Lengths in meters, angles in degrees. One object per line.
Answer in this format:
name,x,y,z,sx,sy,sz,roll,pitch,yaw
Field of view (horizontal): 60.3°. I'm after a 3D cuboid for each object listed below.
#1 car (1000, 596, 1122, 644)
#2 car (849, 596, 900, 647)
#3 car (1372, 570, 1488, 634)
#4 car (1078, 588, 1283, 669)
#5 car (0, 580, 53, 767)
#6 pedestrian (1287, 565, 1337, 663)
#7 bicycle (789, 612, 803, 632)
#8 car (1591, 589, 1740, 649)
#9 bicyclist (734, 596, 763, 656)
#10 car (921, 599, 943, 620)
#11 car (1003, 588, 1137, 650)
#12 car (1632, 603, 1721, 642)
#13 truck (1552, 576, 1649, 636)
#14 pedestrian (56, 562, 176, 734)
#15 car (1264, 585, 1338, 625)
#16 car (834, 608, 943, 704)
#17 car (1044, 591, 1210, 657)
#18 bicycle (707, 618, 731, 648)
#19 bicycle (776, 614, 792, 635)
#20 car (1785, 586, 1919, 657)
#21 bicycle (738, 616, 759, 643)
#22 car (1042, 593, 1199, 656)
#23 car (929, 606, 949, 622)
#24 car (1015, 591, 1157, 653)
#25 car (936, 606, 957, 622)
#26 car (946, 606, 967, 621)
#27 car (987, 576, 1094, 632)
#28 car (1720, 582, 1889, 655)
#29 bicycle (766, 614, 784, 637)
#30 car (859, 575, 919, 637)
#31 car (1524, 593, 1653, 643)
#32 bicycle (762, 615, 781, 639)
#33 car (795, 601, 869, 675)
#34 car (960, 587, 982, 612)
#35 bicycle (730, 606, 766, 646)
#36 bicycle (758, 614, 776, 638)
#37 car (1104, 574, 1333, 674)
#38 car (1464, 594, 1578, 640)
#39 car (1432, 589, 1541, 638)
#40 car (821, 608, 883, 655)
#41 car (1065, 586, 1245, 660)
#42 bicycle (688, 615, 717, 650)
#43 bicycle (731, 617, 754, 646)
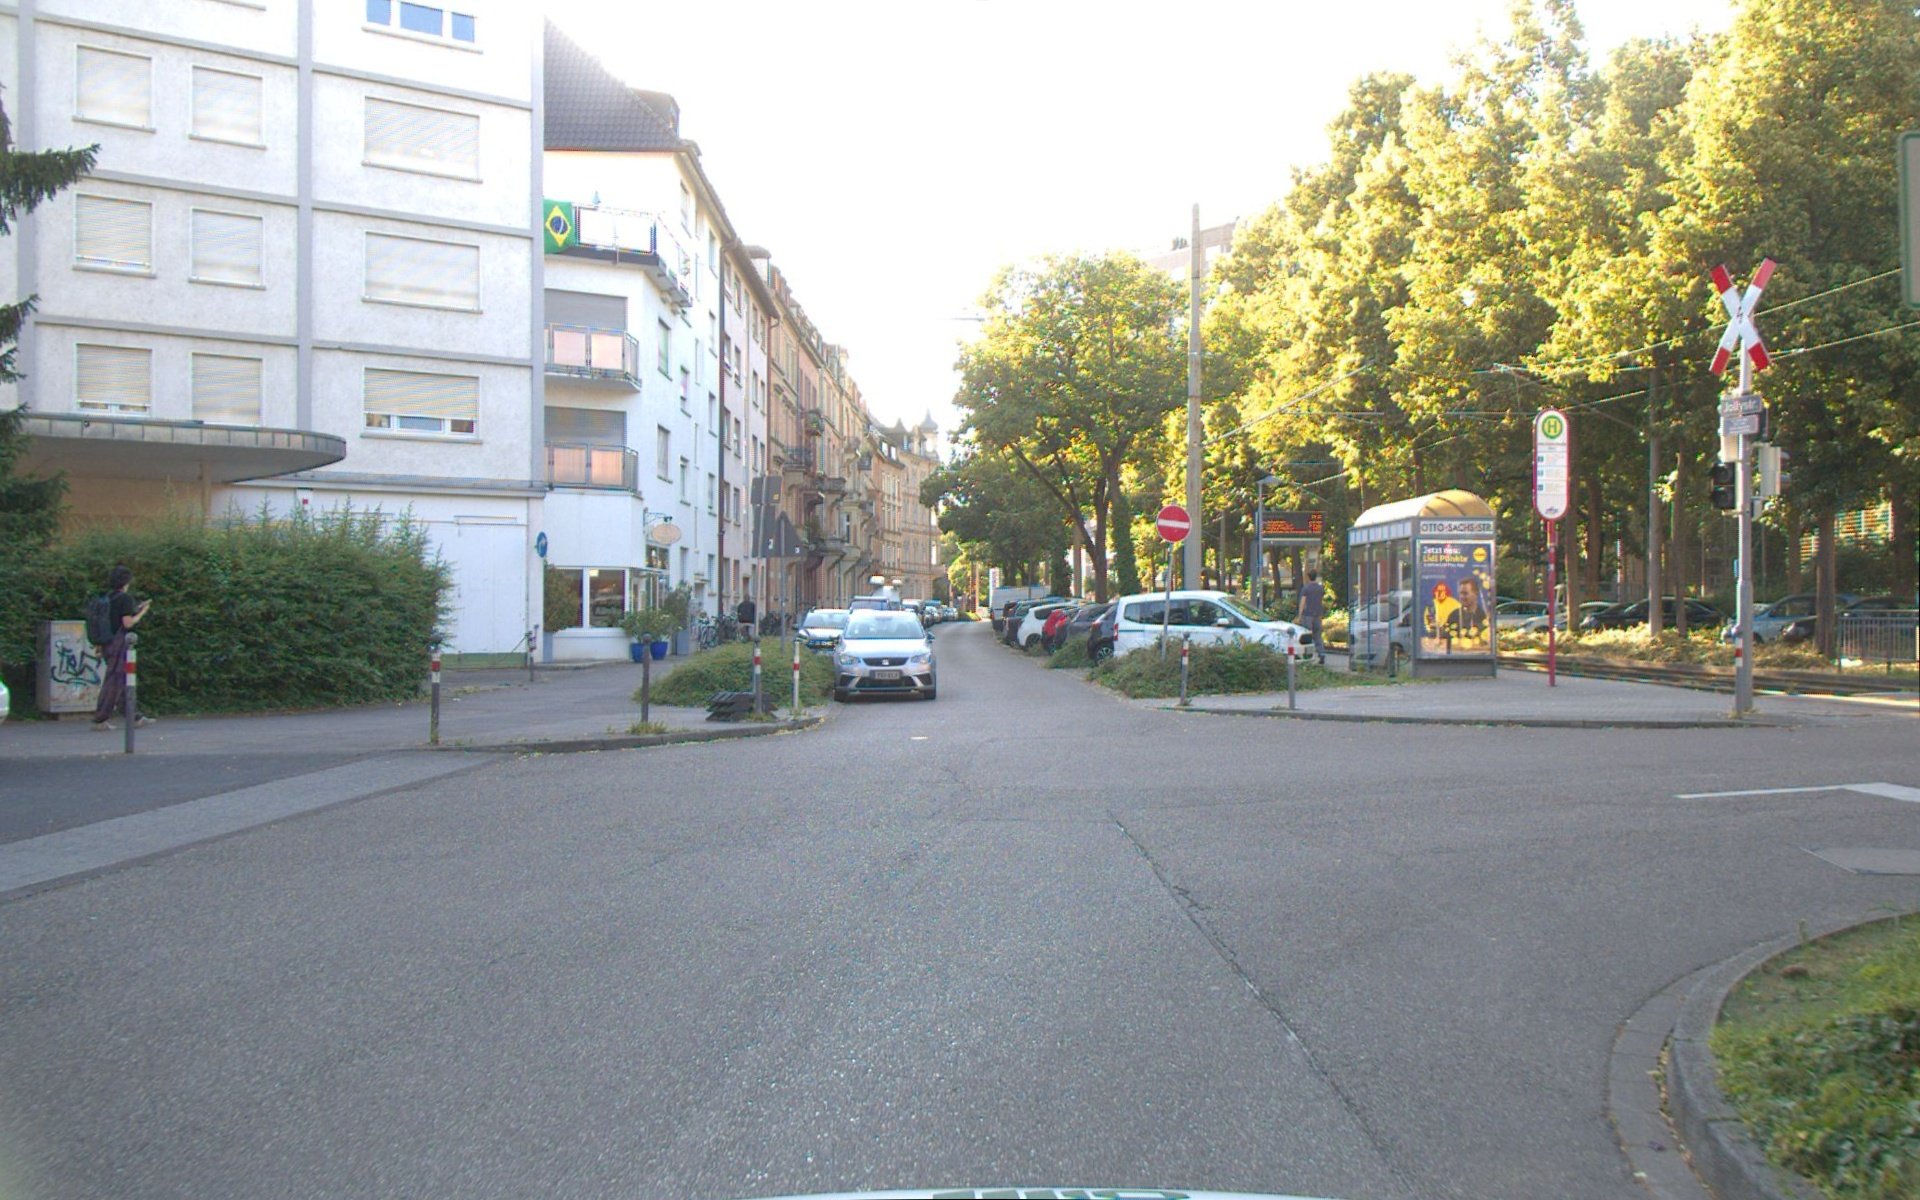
car,3.813,0.755,62.601,4.146,1.498,1.856,-5,-1,28
car,-3.463,0.844,67.247,1.675,1.966,4.001,-2,0,2
car,20.069,0.091,70.660,4.403,2.519,1.815,2,-1,31
car,4.885,0.639,36.628,4.109,1.461,1.700,-5,-1,25
car,-9.697,0.606,12.874,4.192,1.476,1.924,-1,1,2
pedestrian,7.157,0.281,33.575,0.831,1.944,0.837,-1,0,23
bicycle,-8.923,1.194,89.980,0.614,1.021,2.175,0,0,-1
car,19.938,0.552,46.896,3.738,1.523,1.738,2,-1,19
bicyclist,-5.922,0.724,46.269,0.697,1.645,0.723,-1,0,0
car,-2.560,0.880,153.642,1.675,1.852,4.002,-2,0,4
car,3.740,0.652,56.445,4.156,1.779,1.851,-5,-1,36
car,26.594,0.817,61.492,1.540,1.409,3.597,0,0,-4
truck,26.790,0.245,69.357,2.318,2.393,4.383,-1,0,0
pedestrian,-8.945,0.496,17.565,0.811,1.766,0.870,1,0,-2
car,20.795,0.329,100.962,4.004,2.249,1.815,2,-1,31
car,-1.303,0.910,28.543,1.677,1.471,3.996,-2,0,-5
car,4.556,0.657,45.117,4.143,1.484,1.607,-5,-1,24
bicycle,-8.362,1.133,57.438,0.520,1.021,2.175,0,0,-1
bicycle,-8.559,1.185,80.412,0.614,1.021,2.175,0,0,-1
car,20.838,0.495,37.636,3.534,1.472,1.607,2,1,23
bicycle,-8.301,1.162,64.948,0.614,1.021,2.175,0,0,-1
car,4.644,0.722,47.958,4.143,1.484,1.607,-5,-1,24
car,-2.044,1.364,163.652,1.675,1.471,4.002,-2,0,4
car,4.049,0.714,53.420,4.156,1.680,1.851,-5,-1,36
car,-1.416,1.427,169.052,1.674,1.471,4.003,-2,0,6
car,-0.386,1.373,173.959,1.674,1.471,4.003,-2,0,8
car,4.346,0.221,89.401,5.151,2.616,2.270,-5,-1,28
car,20.589,0.435,40.482,3.535,1.589,1.607,2,1,23
bicycle,-8.639,1.169,77.202,0.614,1.021,2.175,0,0,-1
car,-3.511,0.279,82.675,2.499,2.938,5.483,-2,0,2
car,19.935,0.584,52.594,3.738,1.415,1.738,2,-1,19
bicycle,-8.179,1.175,71.828,0.614,1.021,2.175,0,0,-1
car,-3.142,0.898,41.139,1.676,1.702,3.998,-2,0,-3
car,1.279,-0.069,183.886,1.674,2.607,5.571,-2,0,8
bicycle,-5.920,0.708,46.311,0.697,1.069,2.347,-1,0,0
bicycle,-8.719,1.167,74.805,0.614,1.021,2.175,0,0,-1
car,5.161,0.496,33.163,4.149,1.681,1.604,-5,-1,31
car,19.865,0.589,58.653,3.738,1.446,1.738,2,-1,19
car,19.569,0.500,61.495,3.738,1.615,1.738,2,-1,19
car,-3.647,1.041,56.323,1.675,1.471,4.001,-2,0,2
car,4.921,0.581,41.850,4.143,1.534,1.607,-5,-1,24
bicycle,-7.912,0.982,50.855,0.520,1.021,2.176,0,0,0
bicycle,-8.057,1.153,61.415,0.614,1.021,2.175,0,0,-1
